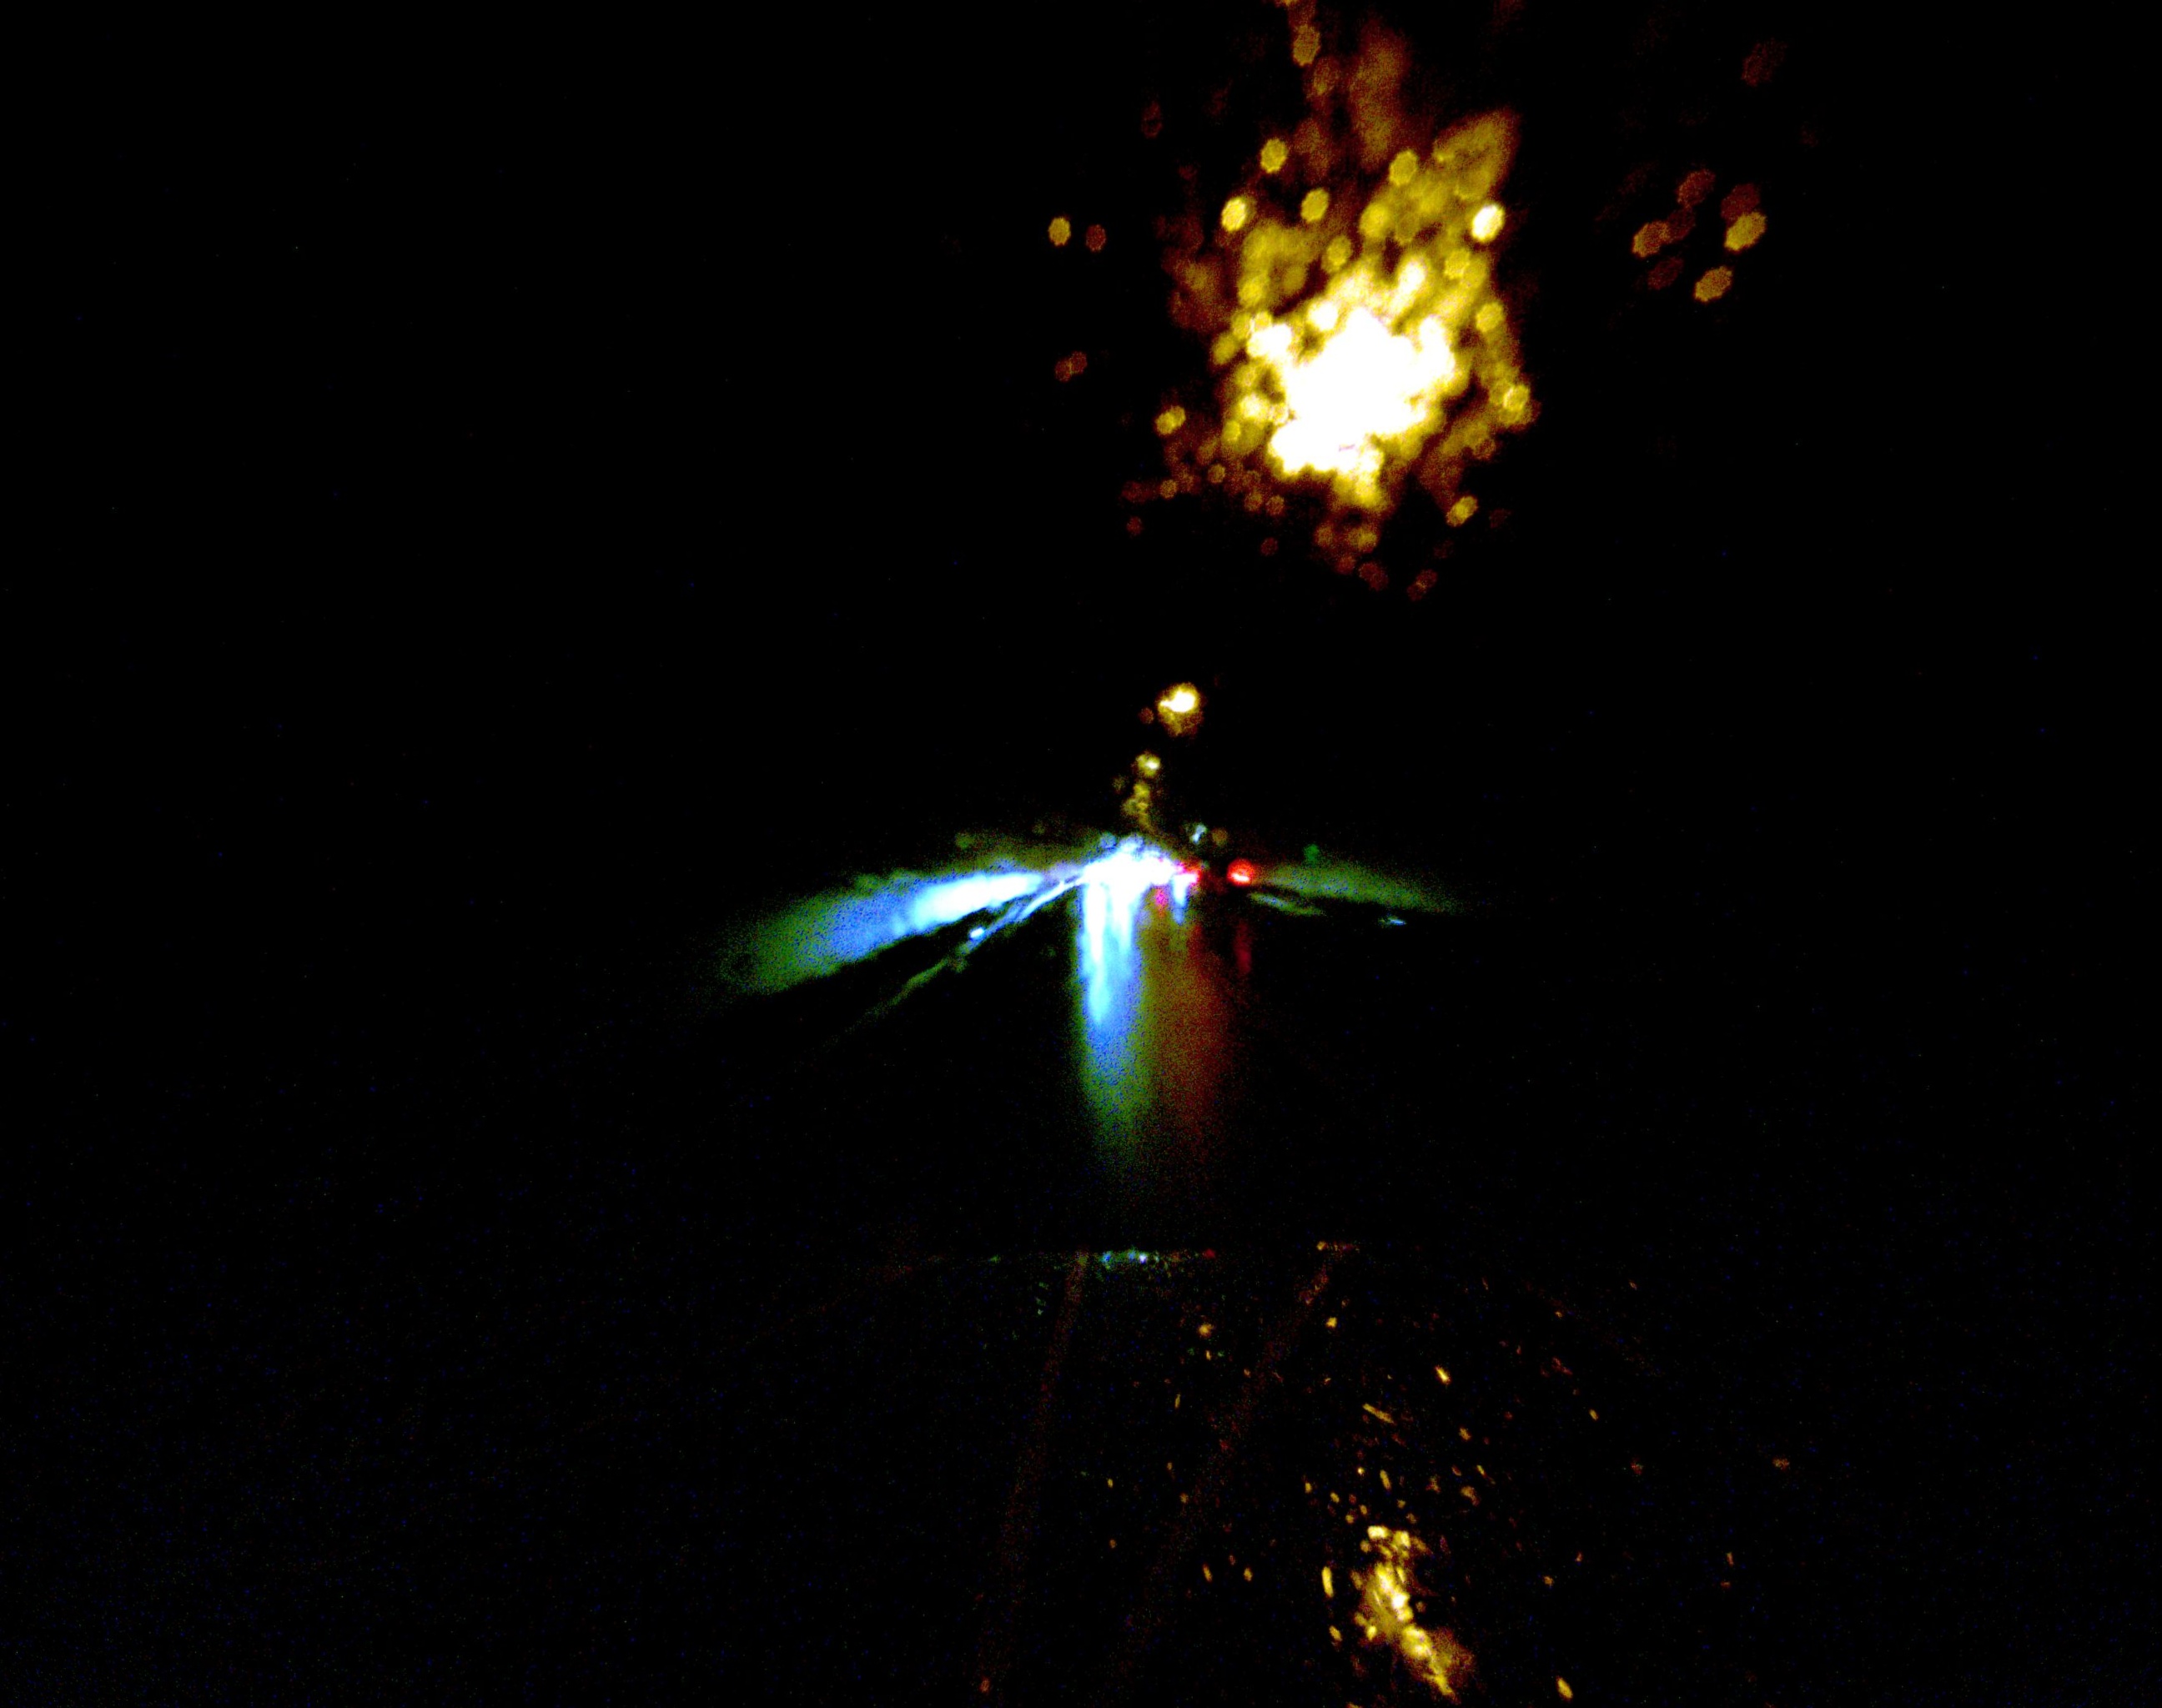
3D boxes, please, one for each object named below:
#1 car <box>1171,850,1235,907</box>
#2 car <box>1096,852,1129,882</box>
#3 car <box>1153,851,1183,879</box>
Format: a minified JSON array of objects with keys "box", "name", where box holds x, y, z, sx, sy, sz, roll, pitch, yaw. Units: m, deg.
[{"box":[3.699,0.704,23.463,1.586,1.528,3.177,-4,0,5],"name":"car"},{"box":[1.938,0.730,45.396,1.729,1.595,4.001,-4,0,5],"name":"car"},{"box":[5.132,0.606,44.900,1.624,1.508,4.139,-2,0,6],"name":"car"}]
